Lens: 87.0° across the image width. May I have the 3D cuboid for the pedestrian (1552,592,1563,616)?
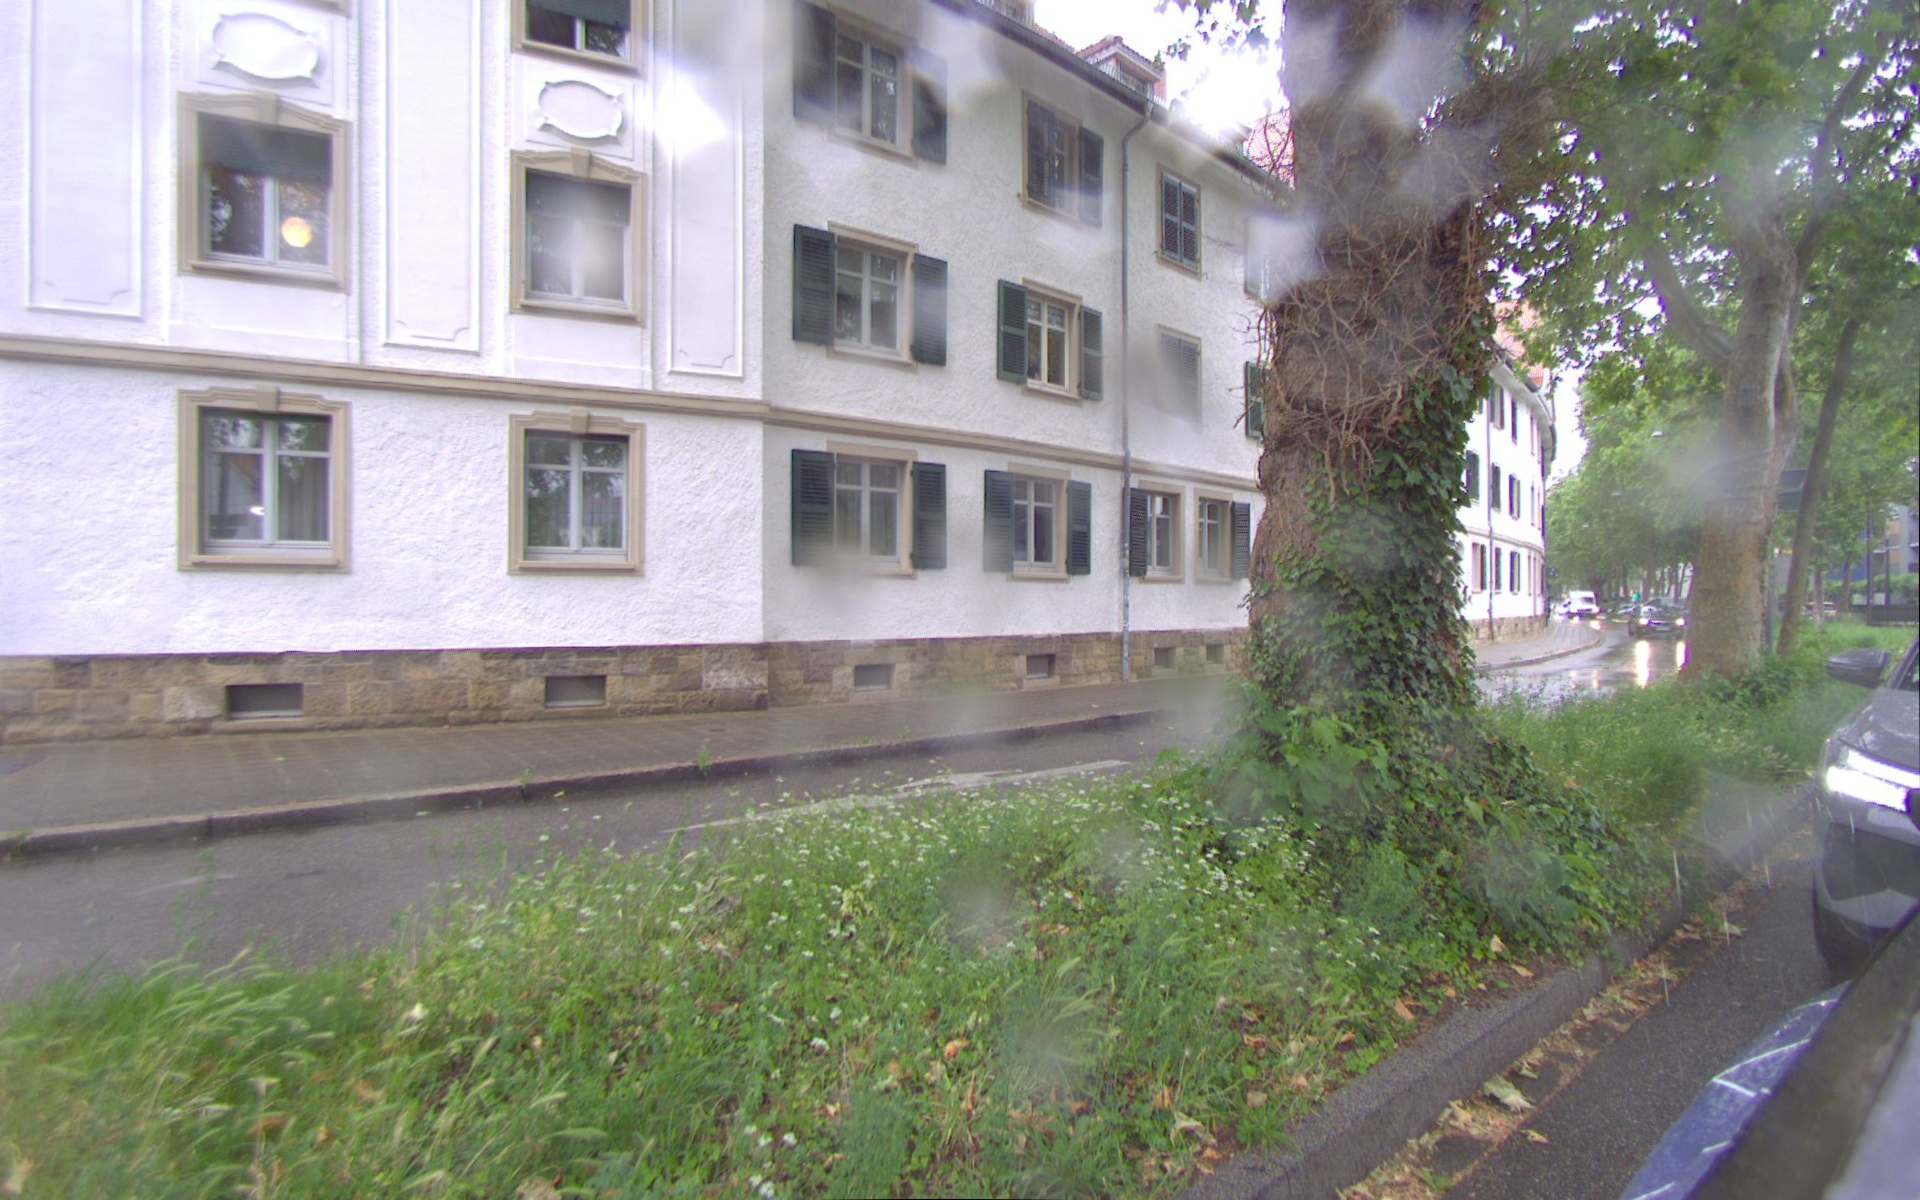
[{"bbox_3d":[45.017,0.300,76.228,0.668,1.845,0.672,0,0,31],"label":"pedestrian"}]

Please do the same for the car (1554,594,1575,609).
[{"bbox_3d":[66.358,0.176,111.165,1.816,1.545,3.959,0,0,29],"label":"car"}]

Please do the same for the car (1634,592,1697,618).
[{"bbox_3d":[55.890,0.383,80.275,3.969,2.039,1.977,0,-1,32],"label":"car"}]

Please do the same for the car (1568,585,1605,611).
[{"bbox_3d":[57.171,-0.195,92.472,2.173,2.292,5.366,0,0,24],"label":"car"}]

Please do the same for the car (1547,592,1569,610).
[{"bbox_3d":[73.372,0.073,124.122,1.983,2.038,3.961,5,3,28],"label":"car"}]

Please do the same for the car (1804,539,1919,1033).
[{"bbox_3d":[5.138,0.617,4.319,4.039,1.662,1.913,0,0,-44],"label":"car"}]
